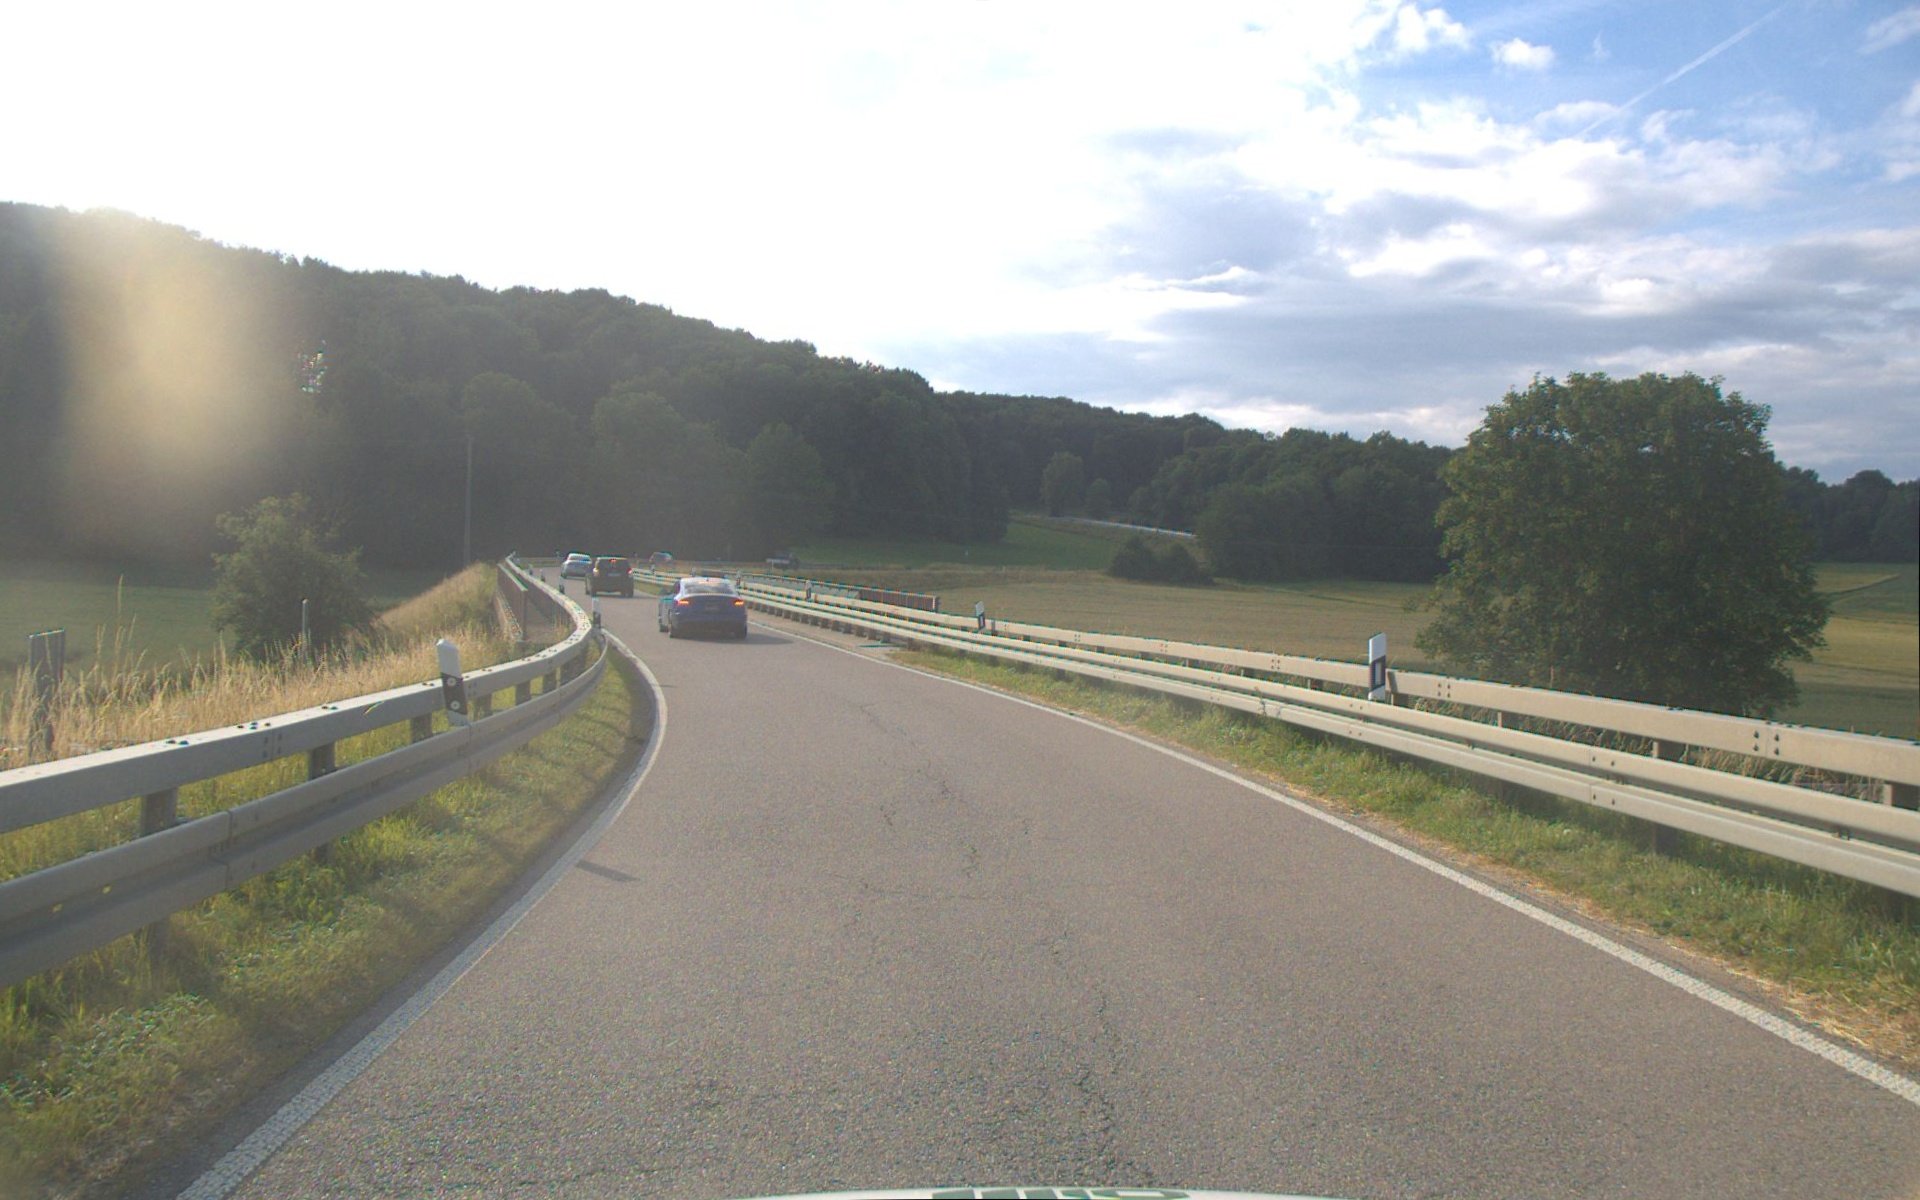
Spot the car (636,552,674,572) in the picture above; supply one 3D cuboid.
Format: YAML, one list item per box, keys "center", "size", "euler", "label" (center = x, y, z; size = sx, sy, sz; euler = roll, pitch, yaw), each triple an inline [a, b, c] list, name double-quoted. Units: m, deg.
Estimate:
- center: [-31.068, -3.889, 168.677]
  size: [1.952, 1.708, 4.180]
  euler: [4, 0, 17]
  label: "car"

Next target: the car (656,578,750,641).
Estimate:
- center: [-6.247, 0.187, 39.842]
  size: [1.788, 1.362, 4.333]
  euler: [2, 0, -15]
  label: "car"

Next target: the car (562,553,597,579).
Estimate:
- center: [-22.363, -2.014, 97.096]
  size: [1.656, 1.400, 3.981]
  euler: [2, 1, -17]
  label: "car"

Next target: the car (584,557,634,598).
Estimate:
- center: [-14.806, -0.976, 69.652]
  size: [1.831, 1.596, 3.985]
  euler: [3, 0, -15]
  label: "car"

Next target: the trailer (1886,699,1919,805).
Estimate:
- center: [42.683, 6.274, 66.930]
  size: [8.947, 4.131, 3.822]
  euler: [2, -1, -15]
  label: "trailer"

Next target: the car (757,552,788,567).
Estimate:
- center: [-22.870, -4.919, 201.655]
  size: [1.954, 1.802, 3.998]
  euler: [1, 1, 24]
  label: "car"
